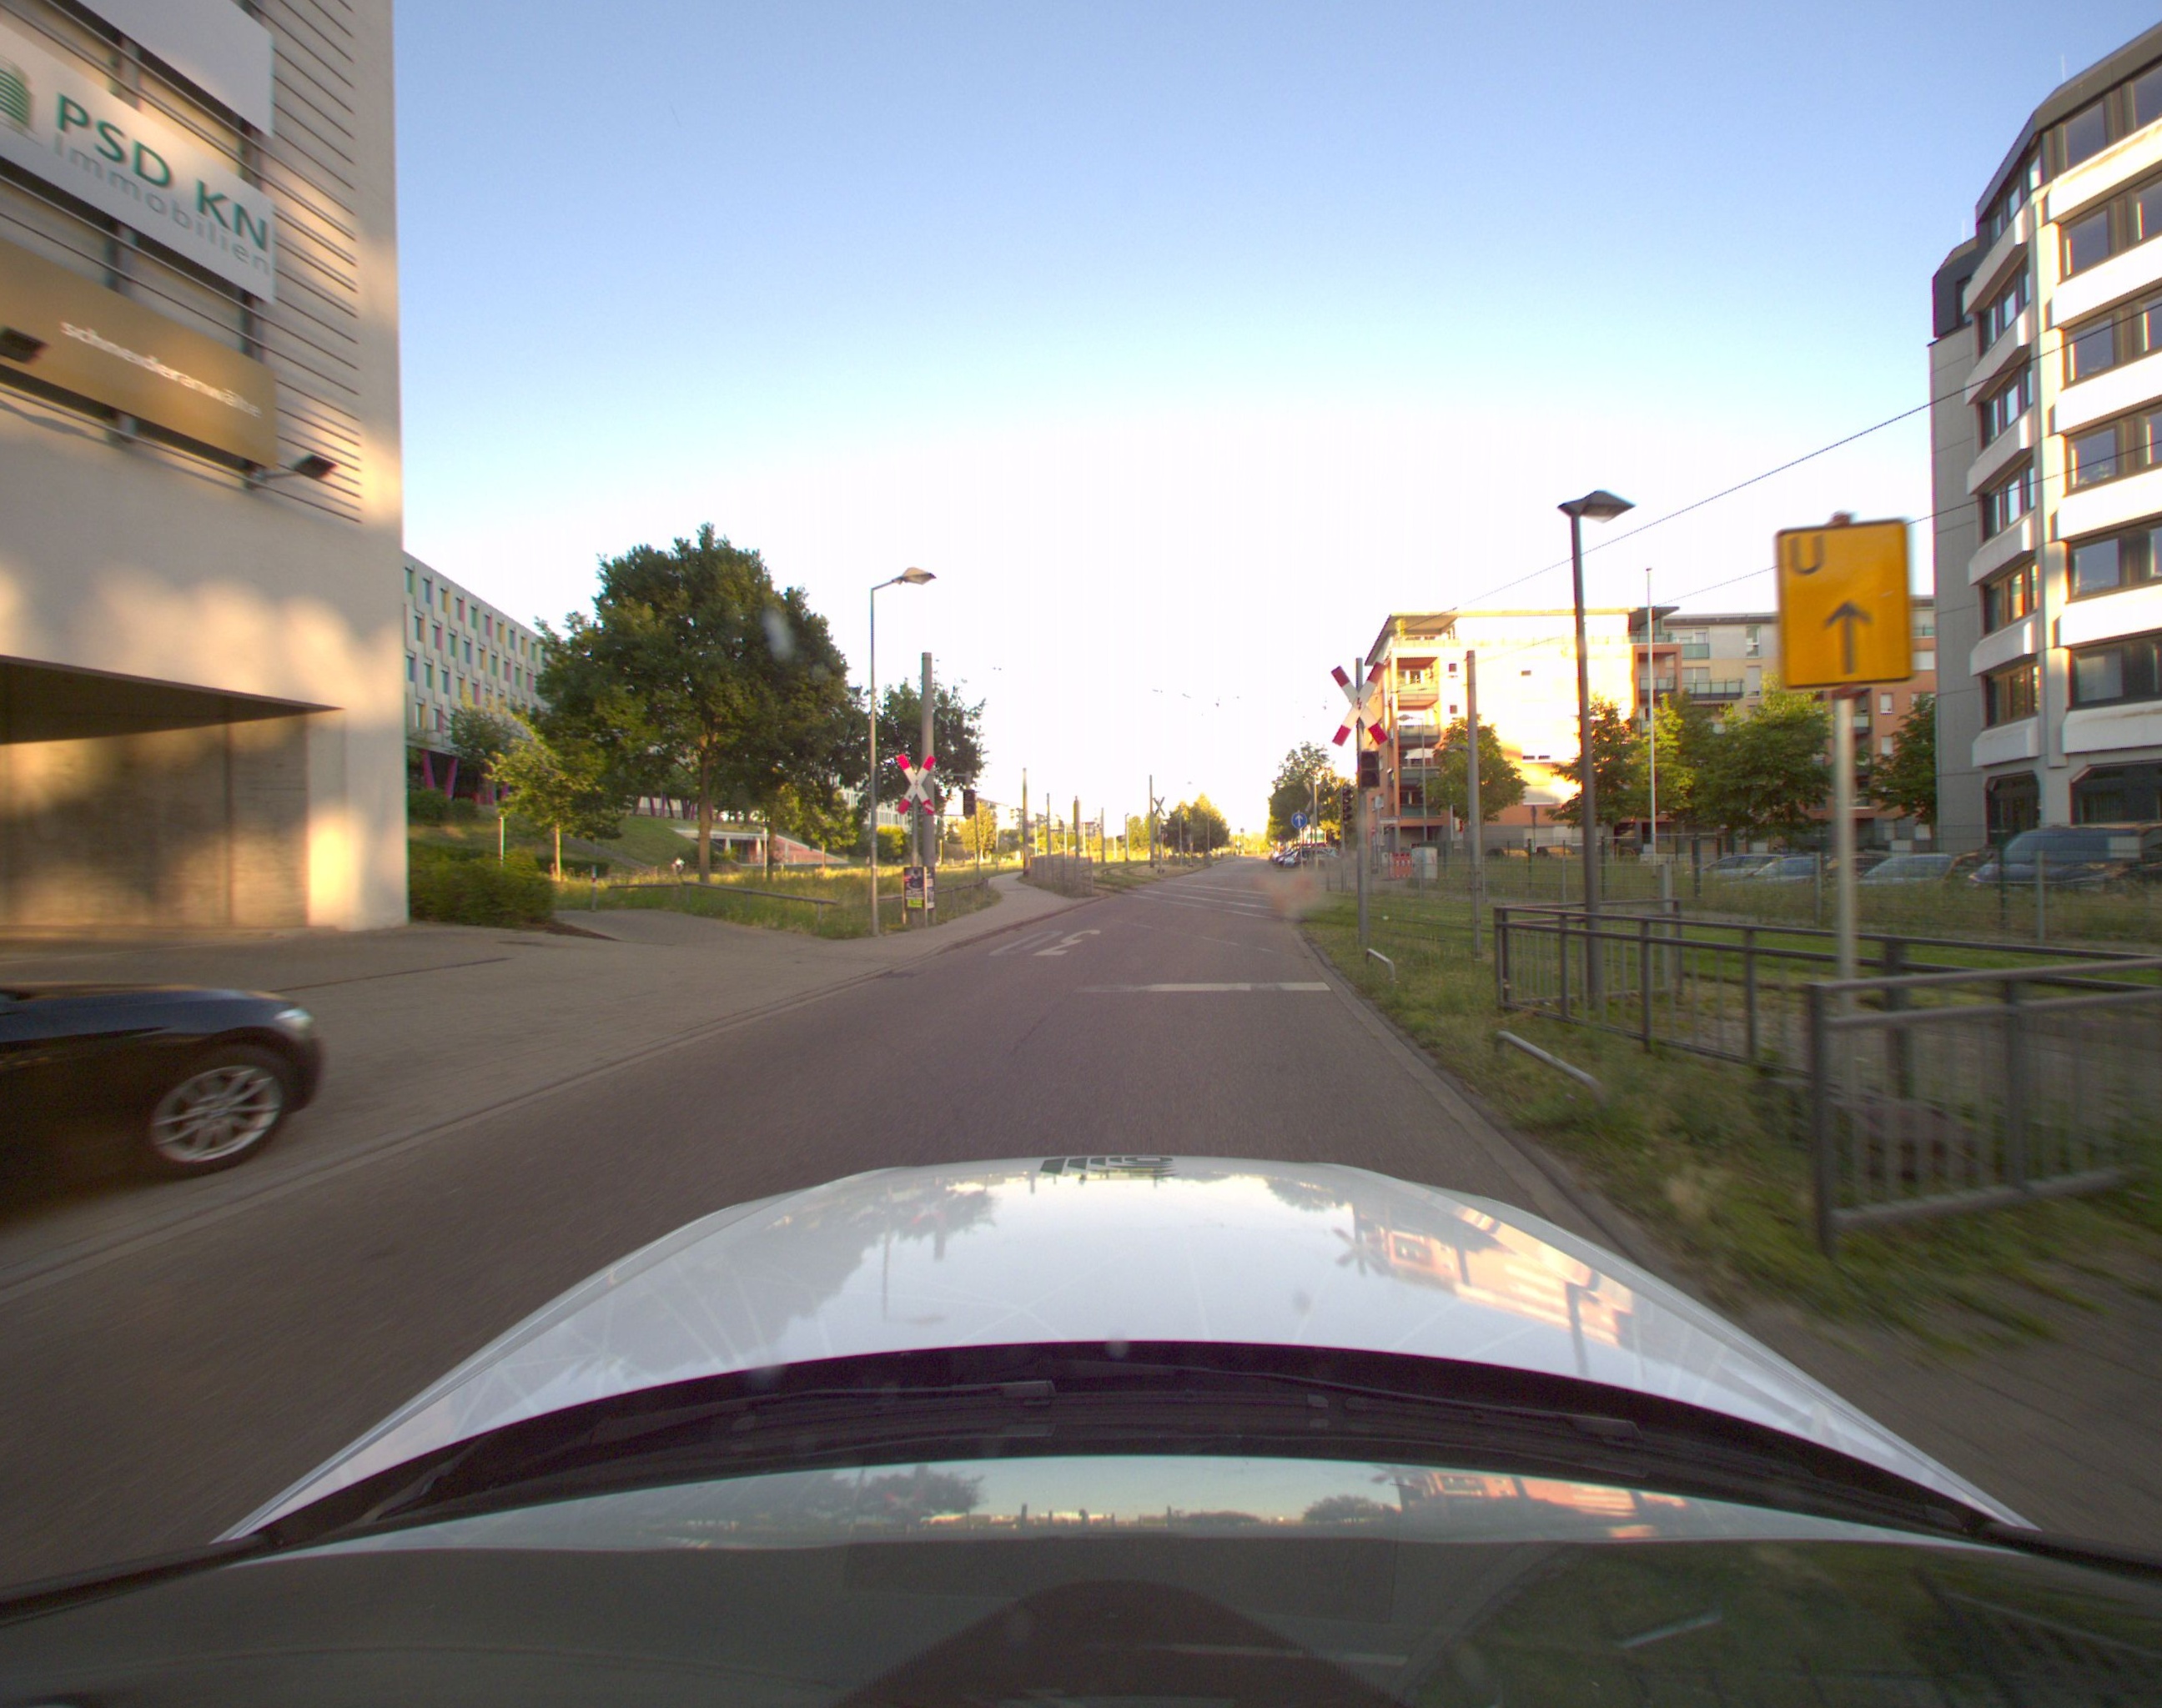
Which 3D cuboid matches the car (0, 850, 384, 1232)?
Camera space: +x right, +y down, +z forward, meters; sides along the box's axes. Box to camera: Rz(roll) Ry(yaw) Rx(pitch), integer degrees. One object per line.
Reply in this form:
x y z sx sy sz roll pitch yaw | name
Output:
-5.107 0.721 2.643 1.844 1.442 4.232 1 0 4 | car

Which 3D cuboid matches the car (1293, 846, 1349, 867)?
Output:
17.780 0.182 60.433 3.728 1.473 1.617 -1 0 8 | car

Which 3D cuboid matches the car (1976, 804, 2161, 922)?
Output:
19.577 0.118 15.238 3.987 2.013 1.993 -1 0 -10 | car

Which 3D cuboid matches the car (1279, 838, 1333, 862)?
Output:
21.399 -0.371 77.586 4.885 2.117 2.024 -1 0 14 | car

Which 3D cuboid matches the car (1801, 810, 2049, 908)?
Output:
18.923 0.086 18.348 3.987 2.013 1.993 -1 0 -10 | car

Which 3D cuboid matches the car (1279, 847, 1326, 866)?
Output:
18.488 0.210 68.104 3.748 1.496 1.544 -1 -2 12 | car

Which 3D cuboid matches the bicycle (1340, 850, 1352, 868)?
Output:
18.210 0.329 56.051 0.525 1.126 1.969 0 2 11 | bicycle

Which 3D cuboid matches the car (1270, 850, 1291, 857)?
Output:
43.954 -0.135 179.606 4.453 1.596 2.007 -1 0 13 | car

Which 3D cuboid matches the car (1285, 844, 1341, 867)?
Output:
17.874 0.116 62.819 4.022 1.569 1.679 -3 0 12 | car

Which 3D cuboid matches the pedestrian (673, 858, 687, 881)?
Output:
-32.132 1.248 65.319 0.612 1.836 0.793 1 0 11 | pedestrian

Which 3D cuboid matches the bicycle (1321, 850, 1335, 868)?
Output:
16.927 0.327 55.797 0.674 1.152 1.934 -3 1 11 | bicycle

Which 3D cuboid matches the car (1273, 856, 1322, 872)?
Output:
21.337 0.981 80.419 4.638 1.556 1.817 -1 0 11 | car

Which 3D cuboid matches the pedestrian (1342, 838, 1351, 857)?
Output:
24.725 -0.566 75.783 0.664 1.743 0.702 -1 0 12 | pedestrian

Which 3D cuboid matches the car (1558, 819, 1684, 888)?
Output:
17.037 -0.019 25.955 1.980 2.013 4.013 -1 0 12 | car

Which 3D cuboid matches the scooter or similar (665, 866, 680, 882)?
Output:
-32.281 1.546 64.354 0.612 1.244 0.793 1 0 11 | scooter or similar

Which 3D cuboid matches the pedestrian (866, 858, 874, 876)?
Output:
-25.397 1.546 98.244 0.612 2.082 0.793 1 0 11 | pedestrian

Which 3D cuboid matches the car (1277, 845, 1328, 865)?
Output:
19.675 0.116 72.505 4.187 1.569 1.799 -3 -1 12 | car

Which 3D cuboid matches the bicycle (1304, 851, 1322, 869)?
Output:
15.902 0.408 55.865 0.714 1.152 1.900 -3 2 2 | bicycle
